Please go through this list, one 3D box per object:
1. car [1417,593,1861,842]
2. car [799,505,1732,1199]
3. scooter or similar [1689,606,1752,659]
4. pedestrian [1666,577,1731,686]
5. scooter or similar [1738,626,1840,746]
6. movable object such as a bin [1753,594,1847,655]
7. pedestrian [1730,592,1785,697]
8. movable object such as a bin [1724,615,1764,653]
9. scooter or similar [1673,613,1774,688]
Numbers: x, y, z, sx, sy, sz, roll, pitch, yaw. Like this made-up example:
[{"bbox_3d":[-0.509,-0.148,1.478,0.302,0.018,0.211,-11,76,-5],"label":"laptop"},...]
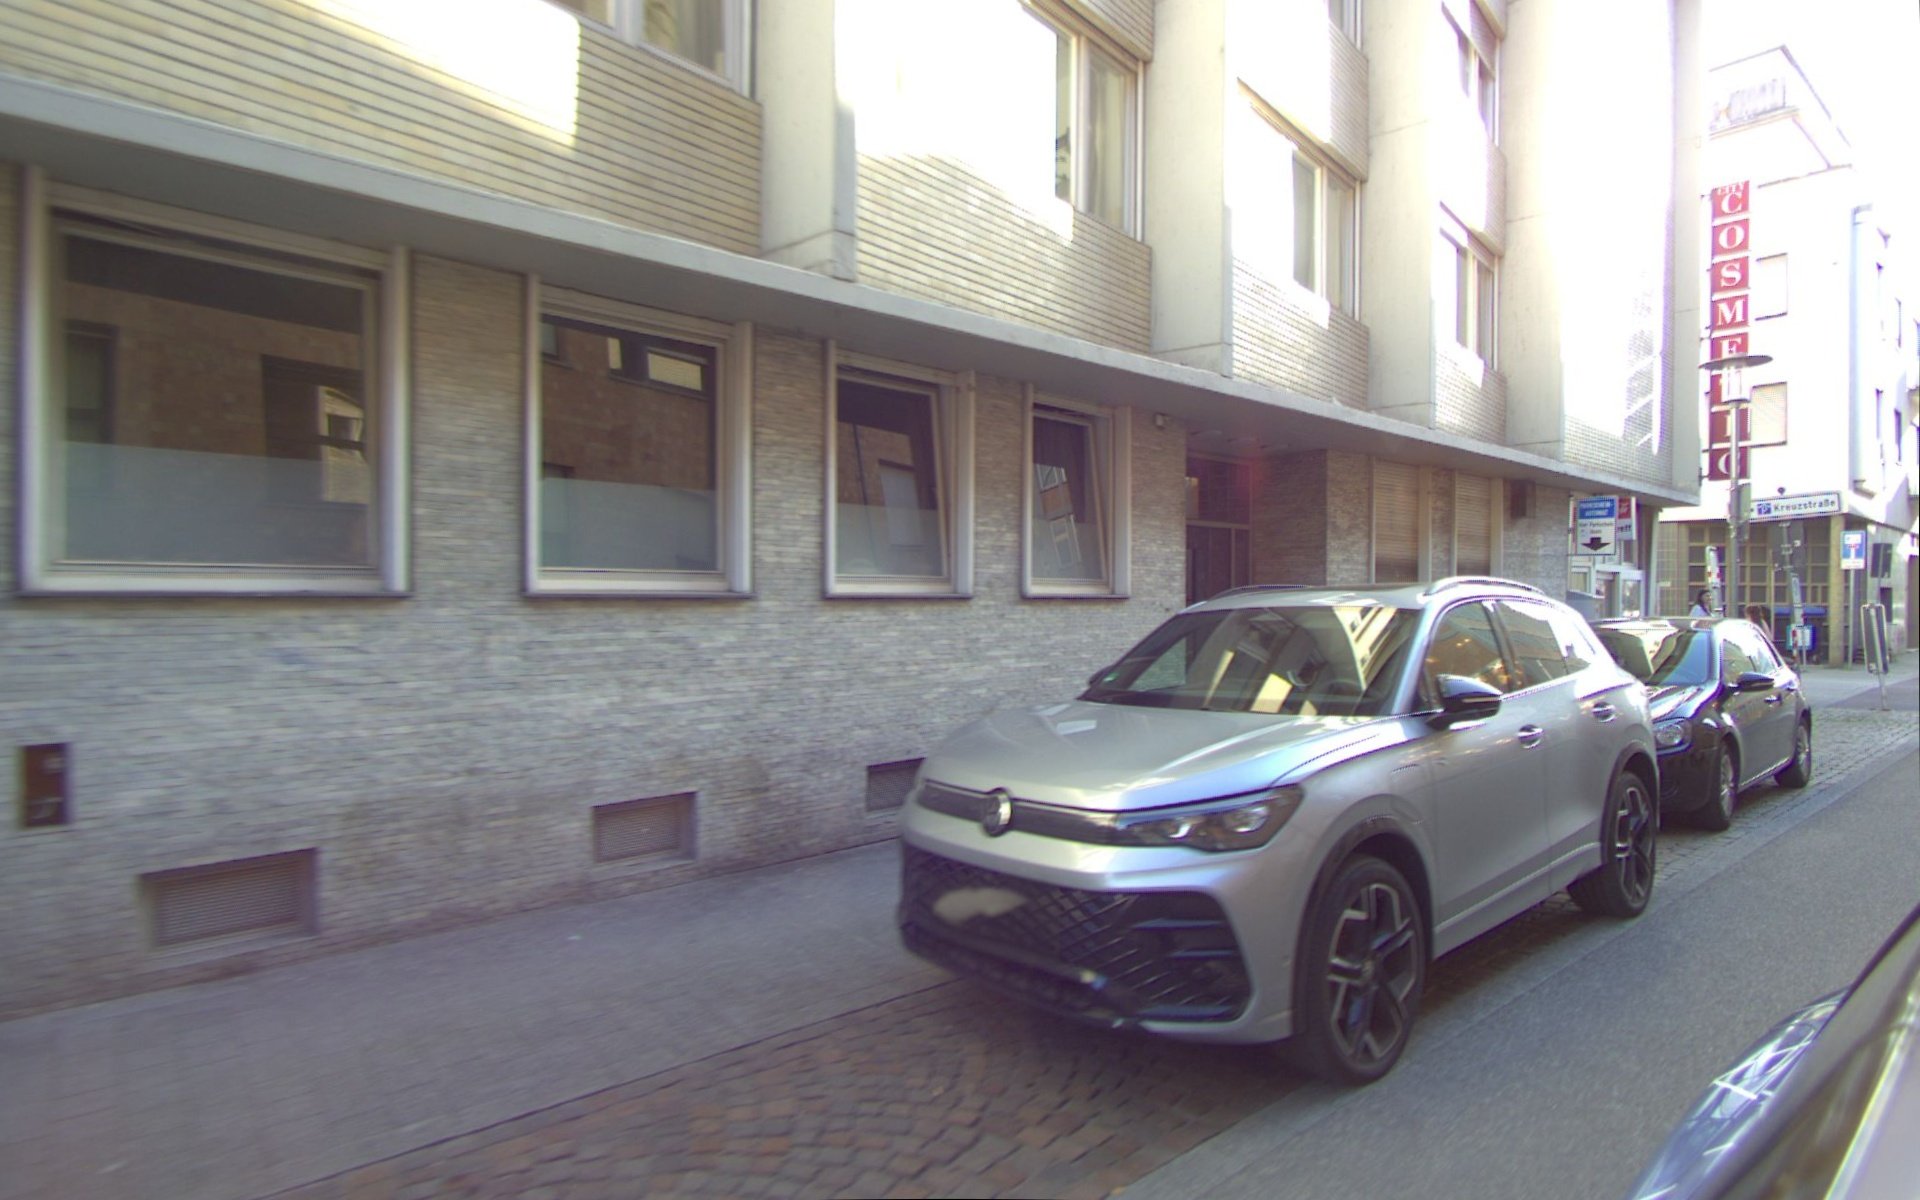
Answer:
[{"bbox_3d":[5.784,0.756,8.388,4.518,1.524,1.826,0,-3,-40],"label":"car"},{"bbox_3d":[1.812,0.643,4.843,4.758,1.724,1.996,0,-2,-41],"label":"car"},{"bbox_3d":[18.509,0.771,24.632,0.489,1.239,1.161,0,0,-41],"label":"scooter or similar"},{"bbox_3d":[12.185,0.508,16.712,0.611,1.758,0.626,0,0,4],"label":"pedestrian"},{"bbox_3d":[9.192,0.916,11.264,0.488,1.209,1.297,0,0,21],"label":"scooter or similar"},{"bbox_3d":[20.998,0.594,25.326,1.411,1.481,1.126,0,0,9],"label":"movable object such as a bin"},{"bbox_3d":[12.232,0.668,15.530,0.570,1.559,0.436,3,2,34],"label":"pedestrian"},{"bbox_3d":[19.970,0.869,25.791,0.587,0.938,0.606,0,0,9],"label":"movable object such as a bin"},{"bbox_3d":[13.047,0.844,17.325,1.026,1.191,0.871,2,0,3],"label":"scooter or similar"}]
